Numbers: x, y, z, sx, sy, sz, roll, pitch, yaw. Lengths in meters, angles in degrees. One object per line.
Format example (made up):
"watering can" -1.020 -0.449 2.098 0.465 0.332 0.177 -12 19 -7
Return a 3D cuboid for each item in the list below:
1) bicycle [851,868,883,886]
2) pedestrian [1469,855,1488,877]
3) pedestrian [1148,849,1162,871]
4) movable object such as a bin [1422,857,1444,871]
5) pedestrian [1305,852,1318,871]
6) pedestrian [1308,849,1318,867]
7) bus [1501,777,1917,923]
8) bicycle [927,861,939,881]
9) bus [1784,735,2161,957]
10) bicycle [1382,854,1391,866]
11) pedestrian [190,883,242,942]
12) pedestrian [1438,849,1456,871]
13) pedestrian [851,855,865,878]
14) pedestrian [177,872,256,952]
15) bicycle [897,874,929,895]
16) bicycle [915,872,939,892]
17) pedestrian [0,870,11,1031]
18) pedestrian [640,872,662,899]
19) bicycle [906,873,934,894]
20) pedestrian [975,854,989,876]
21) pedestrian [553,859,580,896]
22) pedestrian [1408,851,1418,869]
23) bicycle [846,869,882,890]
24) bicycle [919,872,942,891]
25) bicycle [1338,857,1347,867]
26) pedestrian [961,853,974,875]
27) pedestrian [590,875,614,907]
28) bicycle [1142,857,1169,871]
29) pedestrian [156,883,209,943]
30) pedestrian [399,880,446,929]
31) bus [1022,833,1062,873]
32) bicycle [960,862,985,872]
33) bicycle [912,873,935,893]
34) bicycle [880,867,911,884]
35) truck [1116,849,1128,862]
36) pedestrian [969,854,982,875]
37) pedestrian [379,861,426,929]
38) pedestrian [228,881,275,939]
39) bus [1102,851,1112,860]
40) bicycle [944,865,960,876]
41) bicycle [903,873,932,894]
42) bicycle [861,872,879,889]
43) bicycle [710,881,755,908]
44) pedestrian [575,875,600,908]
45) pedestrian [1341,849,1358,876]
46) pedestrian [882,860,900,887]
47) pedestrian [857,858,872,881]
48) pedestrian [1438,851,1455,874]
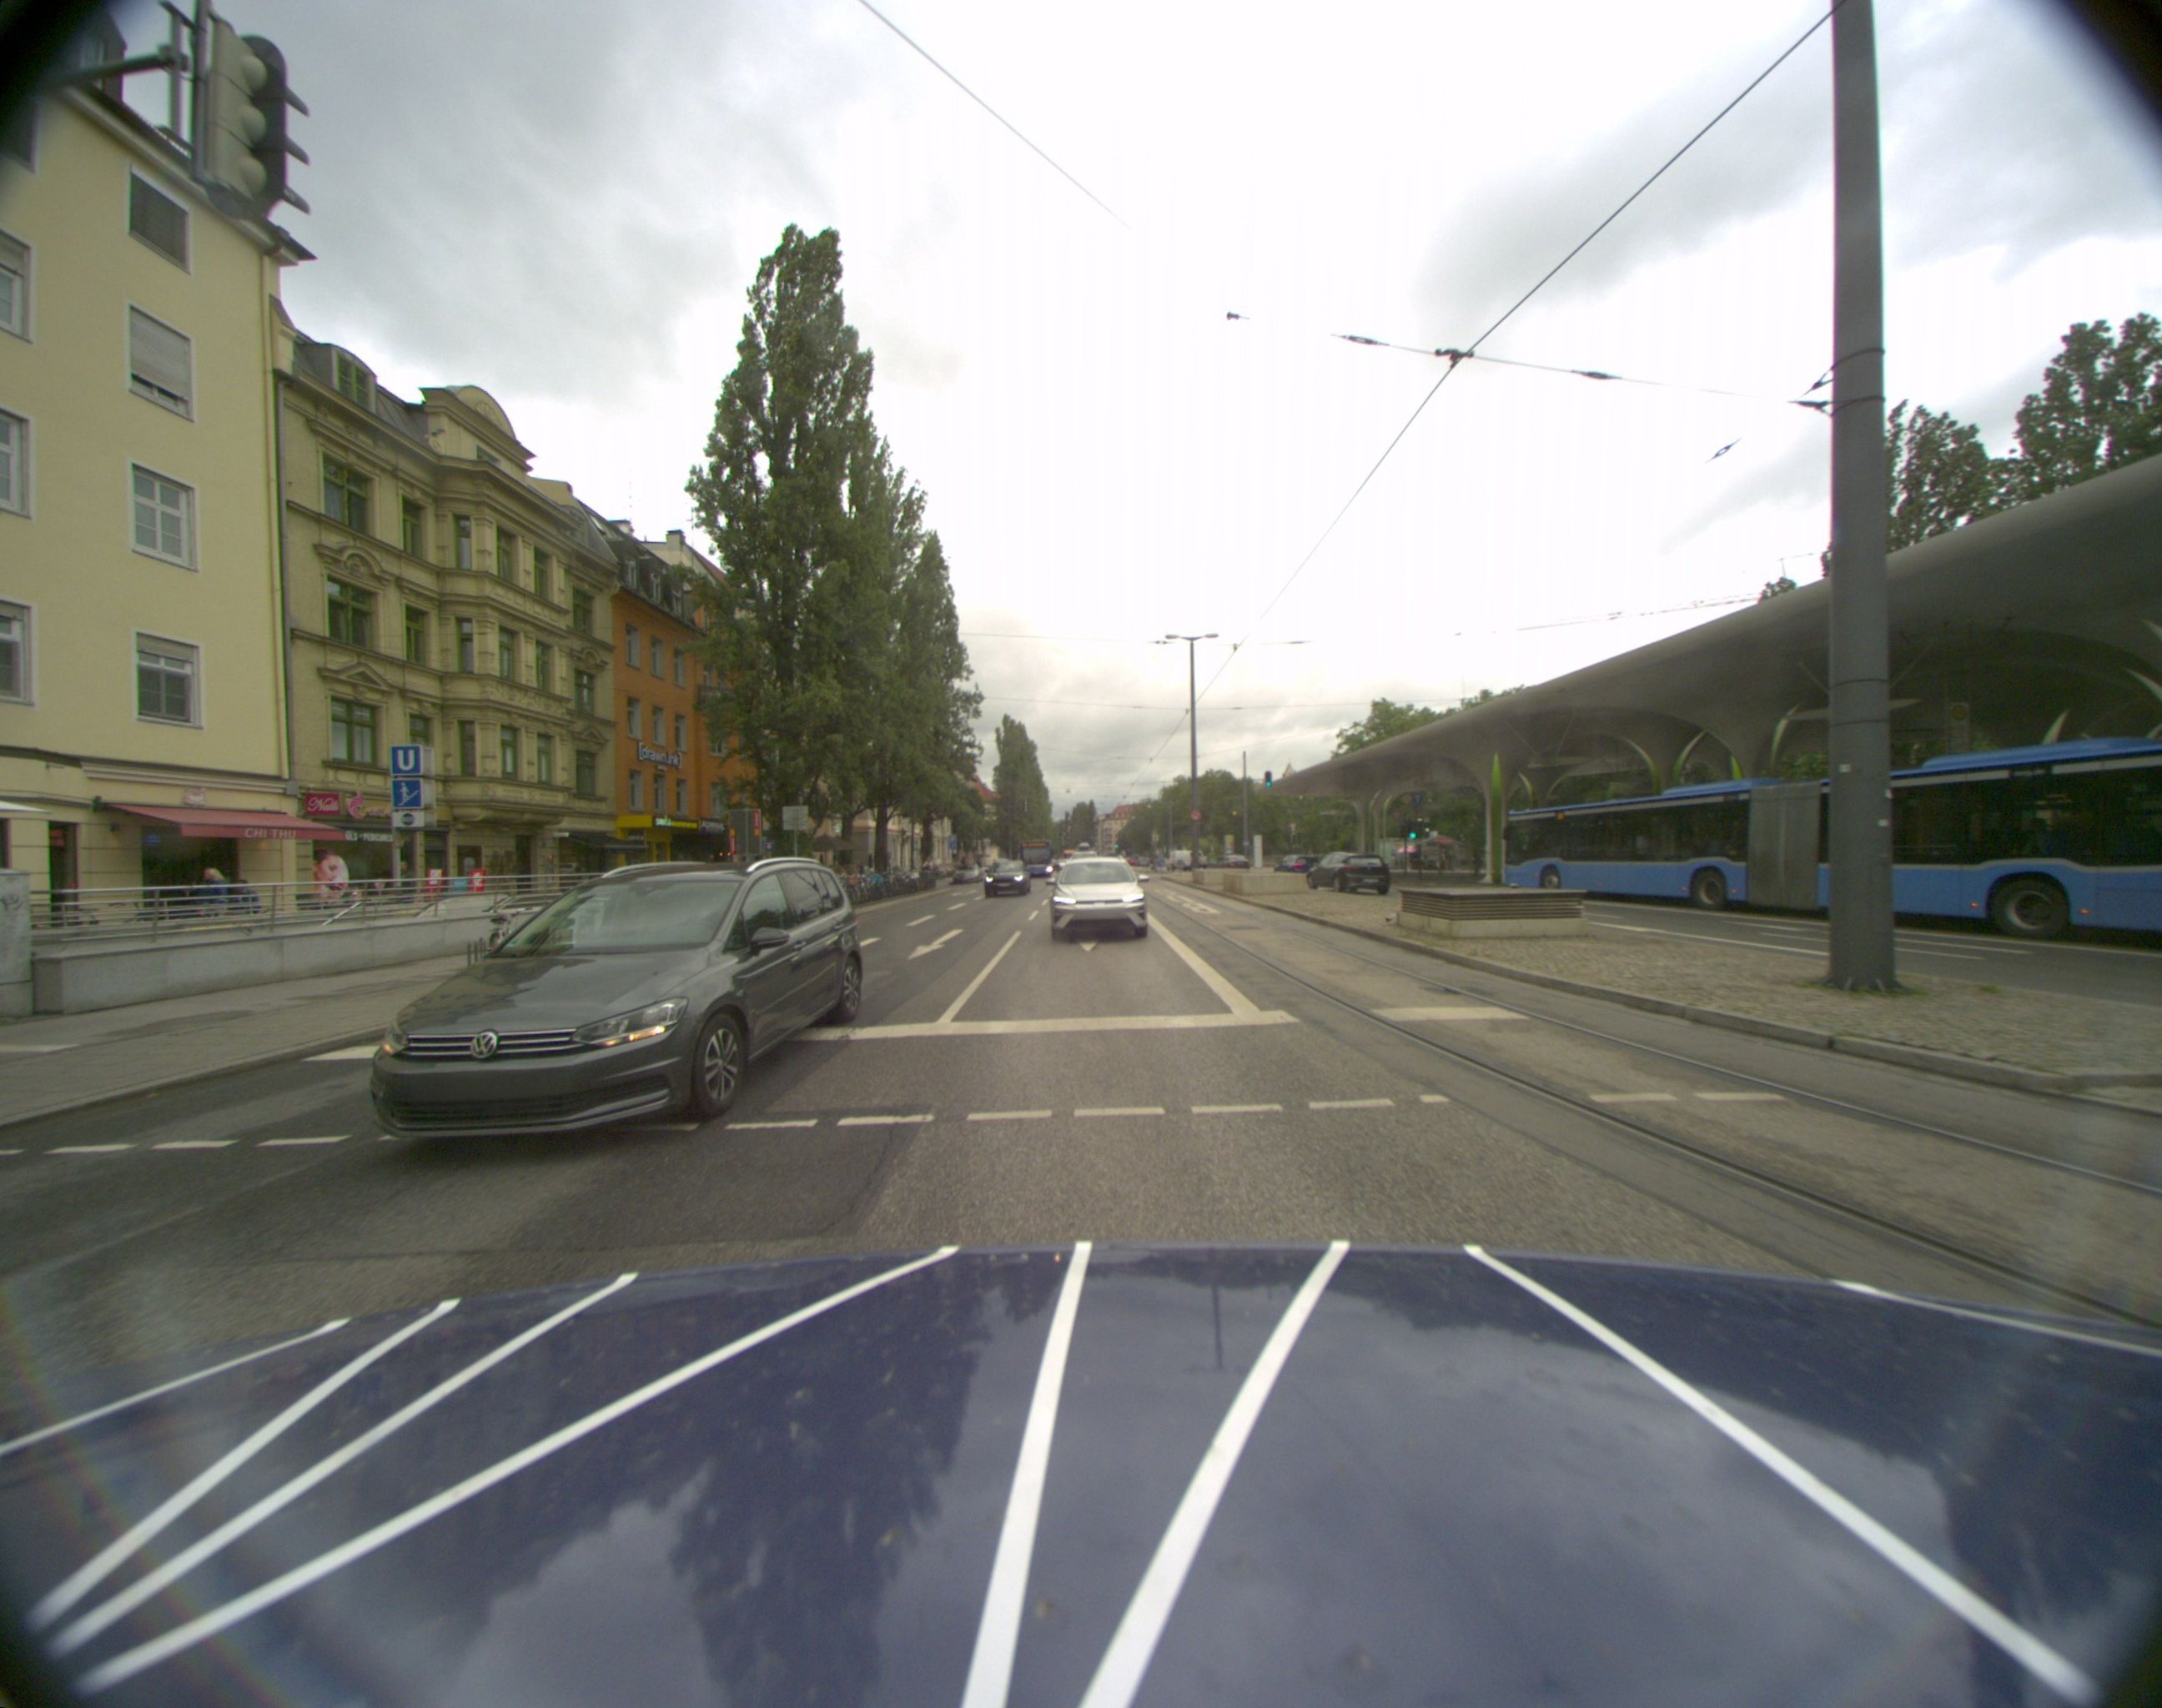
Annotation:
"bicycle" -13.888 1.513 49.269 1.892 1.107 0.458 -1 1 -2
"pedestrian" 23.033 0.674 44.058 0.811 1.223 1.272 -1 0 19
"pedestrian" 6.245 0.525 64.159 0.861 1.801 0.896 -3 1 -19
"movable object such as a bin" 29.425 0.836 63.549 1.336 1.078 0.957 -1 0 1
"pedestrian" 20.153 0.634 66.414 0.739 1.619 0.741 -1 1 -20
"pedestrian" 21.386 0.354 70.091 0.735 1.706 0.861 -1 1 11
"bus" 15.972 -0.084 21.058 2.667 2.990 10.514 1 0 -1
"bicycle" -10.158 1.160 52.168 0.424 1.280 1.778 -1 0 2
"bus" 15.952 -0.093 12.059 2.667 2.990 7.513 1 0 1
"bicycle" 27.342 0.543 67.981 0.479 1.090 1.851 -1 0 14
"pedestrian" -19.324 1.297 16.980 0.496 1.282 0.552 -1 1 1
"pedestrian" 30.605 0.490 63.526 1.031 1.752 0.957 -1 0 1
"pedestrian" -17.034 0.973 58.069 0.748 1.704 1.017 -1 1 1
"pedestrian" -18.243 1.201 16.057 0.712 1.623 0.786 -1 1 1
"bicycle" -8.070 1.467 36.433 1.837 0.990 0.376 -3 -1 39
"bicycle" -7.971 1.462 39.321 0.376 0.990 1.837 -1 -1 -38
"pedestrian" -12.040 1.051 7.777 0.884 1.733 0.857 -1 1 -16
"pedestrian" -19.741 1.460 34.898 0.624 1.211 0.583 -1 1 0
"bicycle" -8.033 1.465 37.863 0.376 0.990 1.837 -1 -1 -44
"pedestrian" -8.176 0.904 62.724 0.881 1.791 0.757 -2 0 11
"pedestrian" -20.921 0.949 30.902 0.626 1.466 0.583 -1 1 3
"pedestrian" 29.839 0.539 68.282 0.739 1.591 0.798 -1 1 16
"bicycle" -12.702 1.498 44.499 1.892 1.167 0.582 -1 1 2
"bicycle" -7.918 1.459 39.962 0.376 0.990 1.837 -1 -1 -38
"bicycle" 23.685 0.734 68.816 0.479 0.889 1.850 -1 0 8
"pedestrian" -9.125 0.790 61.065 0.699 1.770 0.652 -2 0 34
"pedestrian" -19.576 1.494 31.047 0.584 1.273 0.583 -1 1 0
"bicycle" 6.333 0.844 64.451 2.233 1.143 0.505 -3 1 -22
"pedestrian" -20.174 1.315 17.061 0.496 1.282 0.552 -1 1 1
"pedestrian" -17.268 1.318 19.934 0.602 1.215 0.666 -1 1 1
"bus" -3.145 -0.068 64.408 2.637 2.956 9.466 -3 0 1
"bicycle" -13.523 1.582 94.554 2.922 1.141 0.639 -3 1 -17
"bicycle" -8.002 1.464 38.557 0.376 0.990 1.837 -1 -1 -38
"bicycle" -12.016 1.407 49.292 1.892 1.048 0.458 -1 1 -2
"truck" 9.868 0.295 185.005 2.572 3.069 7.690 1 0 0
"pedestrian" -8.550 0.854 61.694 0.758 1.628 0.699 -2 0 -43
"pedestrian" -17.807 1.068 19.951 0.602 1.729 0.666 -1 1 1
"pedestrian" -19.796 1.328 18.141 0.496 1.324 0.552 -1 1 1
"bus" 8.691 0.503 252.792 2.632 2.949 13.414 0 0 -1
"bicycle" -12.297 1.566 72.212 0.445 1.017 1.842 -1 1 27
"bicycle" -8.003 1.464 37.113 1.837 0.990 0.376 -3 -1 42
"bicycle" -11.467 1.434 41.334 0.458 0.887 1.893 -1 0 -1
"bicycle" -13.920 1.623 30.341 1.725 1.039 0.388 -2 -1 12
"pedestrian" -19.603 1.496 30.209 0.584 1.273 0.583 -1 1 0
"pedestrian" 18.314 0.579 51.866 0.667 1.828 0.809 -2 1 -29
"pedestrian" -11.078 1.114 44.292 0.761 1.553 0.763 -2 0 2
"pedestrian" -16.132 1.131 56.691 0.748 1.675 1.017 -1 1 1
"pedestrian" 26.272 0.611 54.624 0.749 1.600 0.837 -1 1 -28
